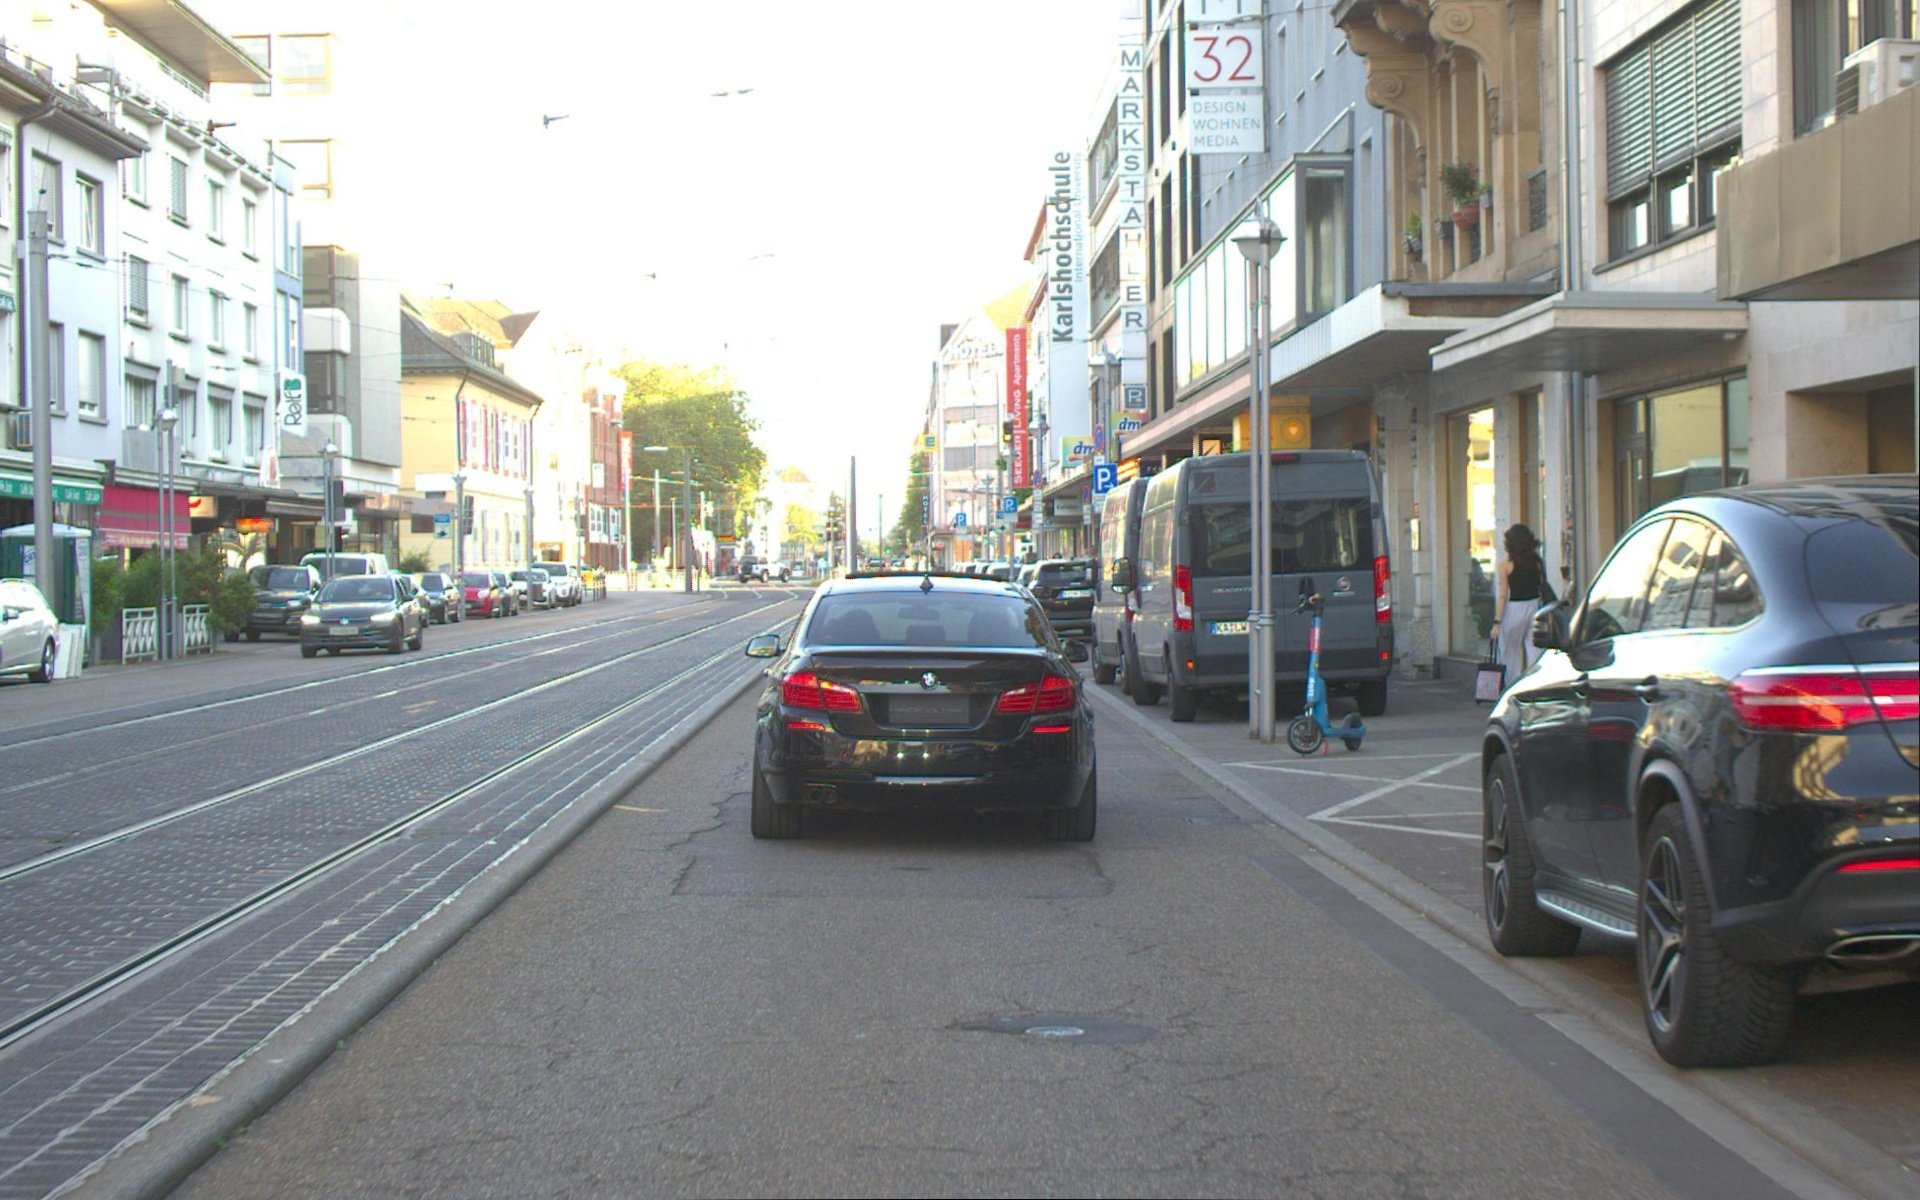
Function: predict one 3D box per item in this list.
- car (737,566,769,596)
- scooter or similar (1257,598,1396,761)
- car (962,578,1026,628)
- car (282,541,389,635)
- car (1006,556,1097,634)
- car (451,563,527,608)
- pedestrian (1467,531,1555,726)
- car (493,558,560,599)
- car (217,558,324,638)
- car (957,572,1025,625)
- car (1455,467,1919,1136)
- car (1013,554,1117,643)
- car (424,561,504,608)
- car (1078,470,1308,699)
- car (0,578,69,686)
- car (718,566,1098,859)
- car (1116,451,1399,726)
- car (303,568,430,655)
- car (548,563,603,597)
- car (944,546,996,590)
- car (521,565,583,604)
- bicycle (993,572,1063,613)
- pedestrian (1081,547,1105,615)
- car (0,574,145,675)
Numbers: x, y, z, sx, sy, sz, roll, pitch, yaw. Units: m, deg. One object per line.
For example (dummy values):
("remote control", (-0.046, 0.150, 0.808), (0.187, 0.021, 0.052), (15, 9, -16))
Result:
("car", (-13.803, -1.288, 229.314), (1.993, 1.832, 4.000), (0, -2, -1))
("scooter or similar", (2.858, 0.602, 26.739), (0.499, 1.216, 1.262), (0, 1, 36))
("car", (1.053, 0.110, 108.391), (1.903, 1.543, 3.780), (0, 0, -1))
("car", (-14.924, -0.303, 82.364), (1.993, 2.149, 4.911), (-1, 1, -4))
("car", (1.790, -0.115, 68.238), (1.559, 1.437, 3.709), (-3, 1, -1))
("car", (-15.281, -0.483, 111.695), (1.928, 1.430, 4.246), (0, 1, -1))
("pedestrian", (4.781, 0.239, 29.853), (0.550, 1.638, 0.533), (-5, 2, -1))
("car", (-15.781, -0.797, 125.304), (1.928, 1.430, 4.246), (-1, 1, -1))
("car", (-14.848, -0.063, 74.229), (1.865, 1.679, 4.001), (0, 0, -5))
("car", (0.908, -0.035, 101.708), (1.903, 1.543, 4.000), (0, 0, -1))
("car", (2.987, 0.478, 11.179), (1.993, 1.721, 4.565), (-1, 1, -1))
("car", (1.894, -0.053, 63.225), (1.654, 1.532, 3.886), (-2, 1, -1))
("car", (-15.349, -0.491, 106.635), (1.928, 1.430, 4.246), (0, 1, -1))
("car", (2.668, -0.211, 40.687), (2.033, 2.447, 5.410), (-2, 1, -3))
("car", (-14.005, 0.440, 47.752), (1.993, 1.448, 4.822), (-1, 1, 0))
("car", (-0.256, 0.559, 20.027), (1.953, 1.493, 4.465), (1, 1, 0))
("car", (2.846, -0.143, 34.338), (2.092, 2.447, 6.033), (-2, 1, -1))
("car", (-10.796, 0.179, 62.777), (1.691, 1.448, 4.466), (-1, 1, -2))
("car", (-16.247, -0.860, 145.452), (1.928, 1.430, 4.246), (0, 1, -1))
("car", (0.353, -1.121, 122.723), (1.774, 1.543, 3.503), (0, 0, -1))
("car", (-15.586, -0.610, 131.488), (1.928, 1.430, 4.246), (0, 1, -1))
("bicycle", (1.831, -0.205, 92.272), (1.861, 1.076, 0.468), (0, -1, 0))
("pedestrian", (3.503, -0.498, 90.789), (0.554, 1.785, 0.760), (-1, 1, -1))
("car", (-14.008, 0.348, 52.664), (1.993, 1.448, 4.330), (-1, 1, 0))
